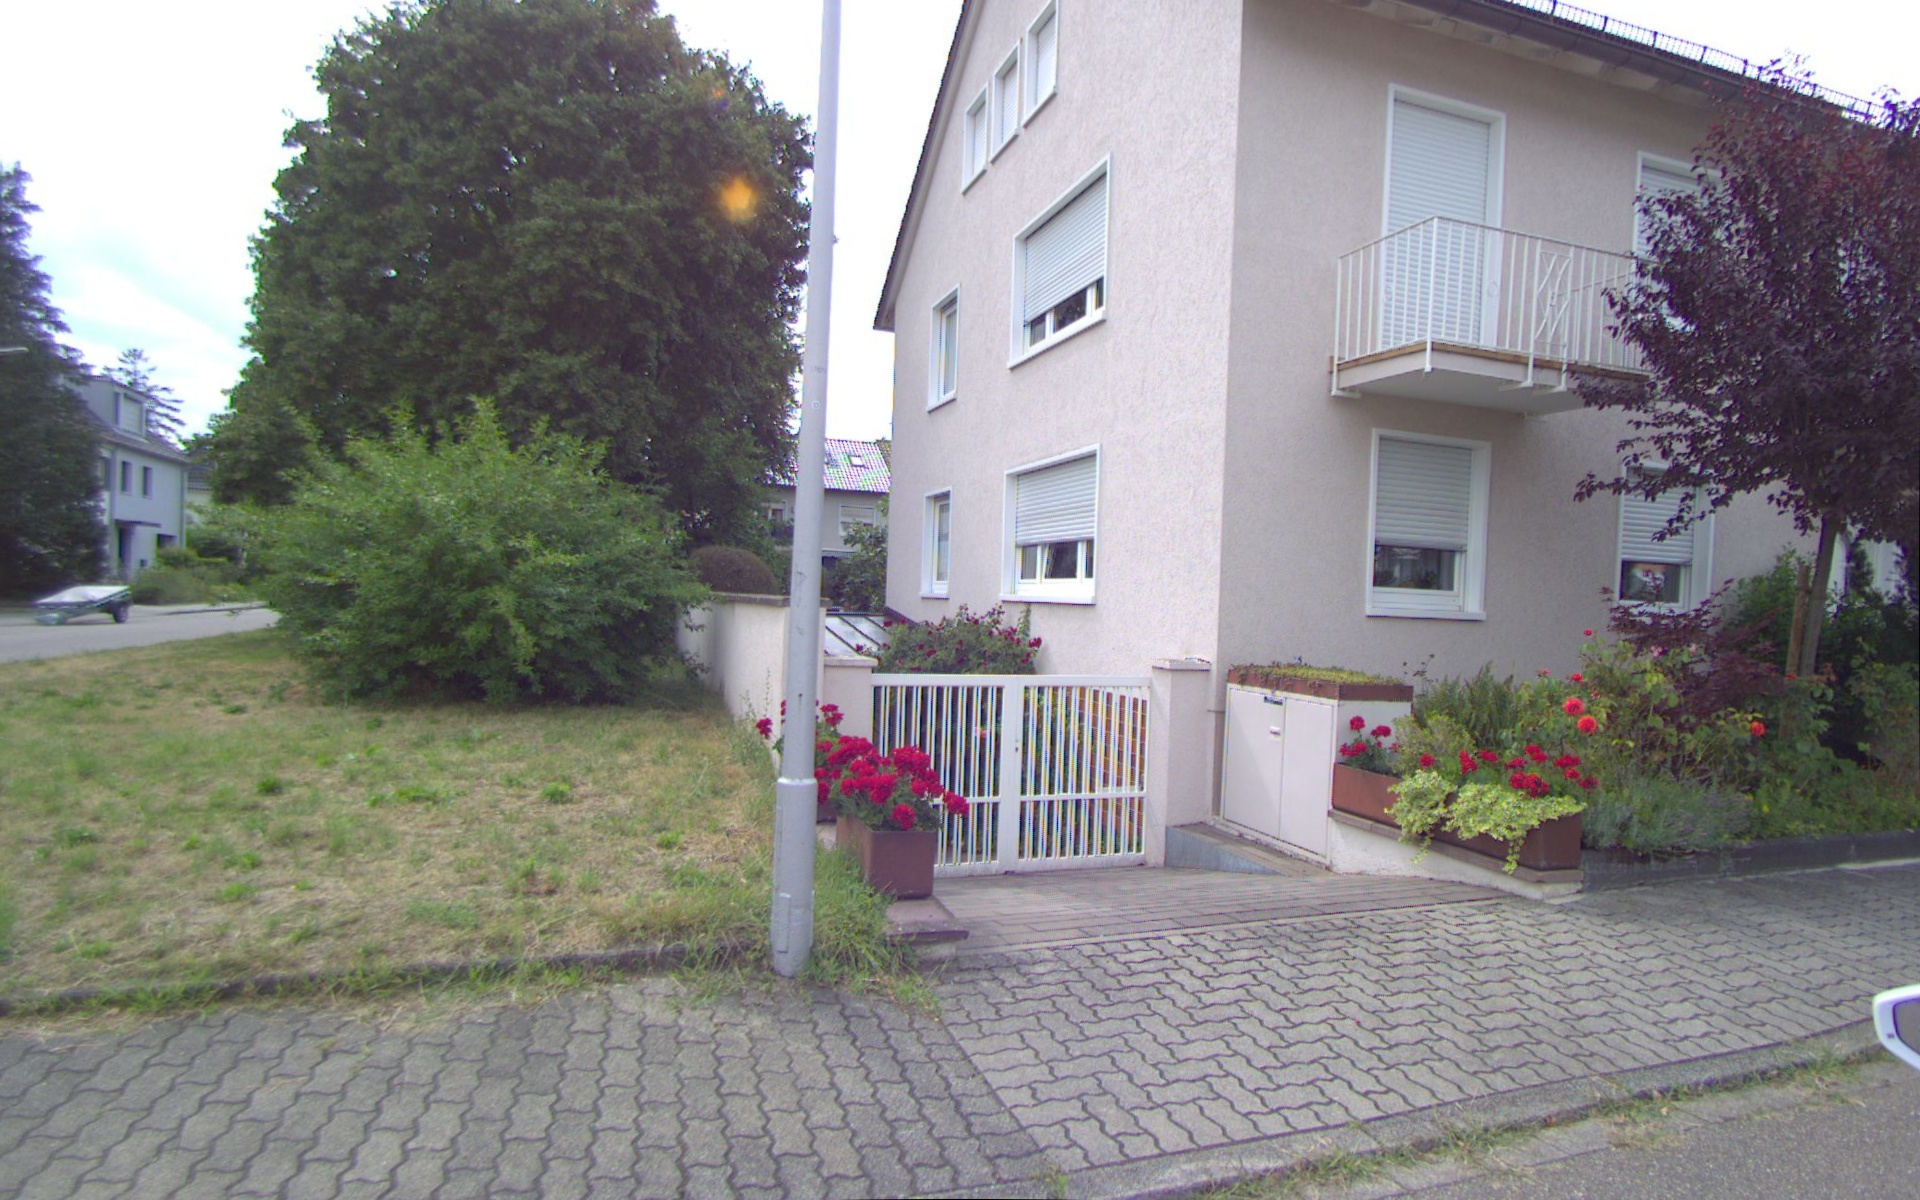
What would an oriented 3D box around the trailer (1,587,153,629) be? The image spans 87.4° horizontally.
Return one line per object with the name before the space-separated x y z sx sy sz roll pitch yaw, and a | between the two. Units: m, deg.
trailer | -22.885 0.196 26.164 1.968 0.977 2.745 2 0 -17
